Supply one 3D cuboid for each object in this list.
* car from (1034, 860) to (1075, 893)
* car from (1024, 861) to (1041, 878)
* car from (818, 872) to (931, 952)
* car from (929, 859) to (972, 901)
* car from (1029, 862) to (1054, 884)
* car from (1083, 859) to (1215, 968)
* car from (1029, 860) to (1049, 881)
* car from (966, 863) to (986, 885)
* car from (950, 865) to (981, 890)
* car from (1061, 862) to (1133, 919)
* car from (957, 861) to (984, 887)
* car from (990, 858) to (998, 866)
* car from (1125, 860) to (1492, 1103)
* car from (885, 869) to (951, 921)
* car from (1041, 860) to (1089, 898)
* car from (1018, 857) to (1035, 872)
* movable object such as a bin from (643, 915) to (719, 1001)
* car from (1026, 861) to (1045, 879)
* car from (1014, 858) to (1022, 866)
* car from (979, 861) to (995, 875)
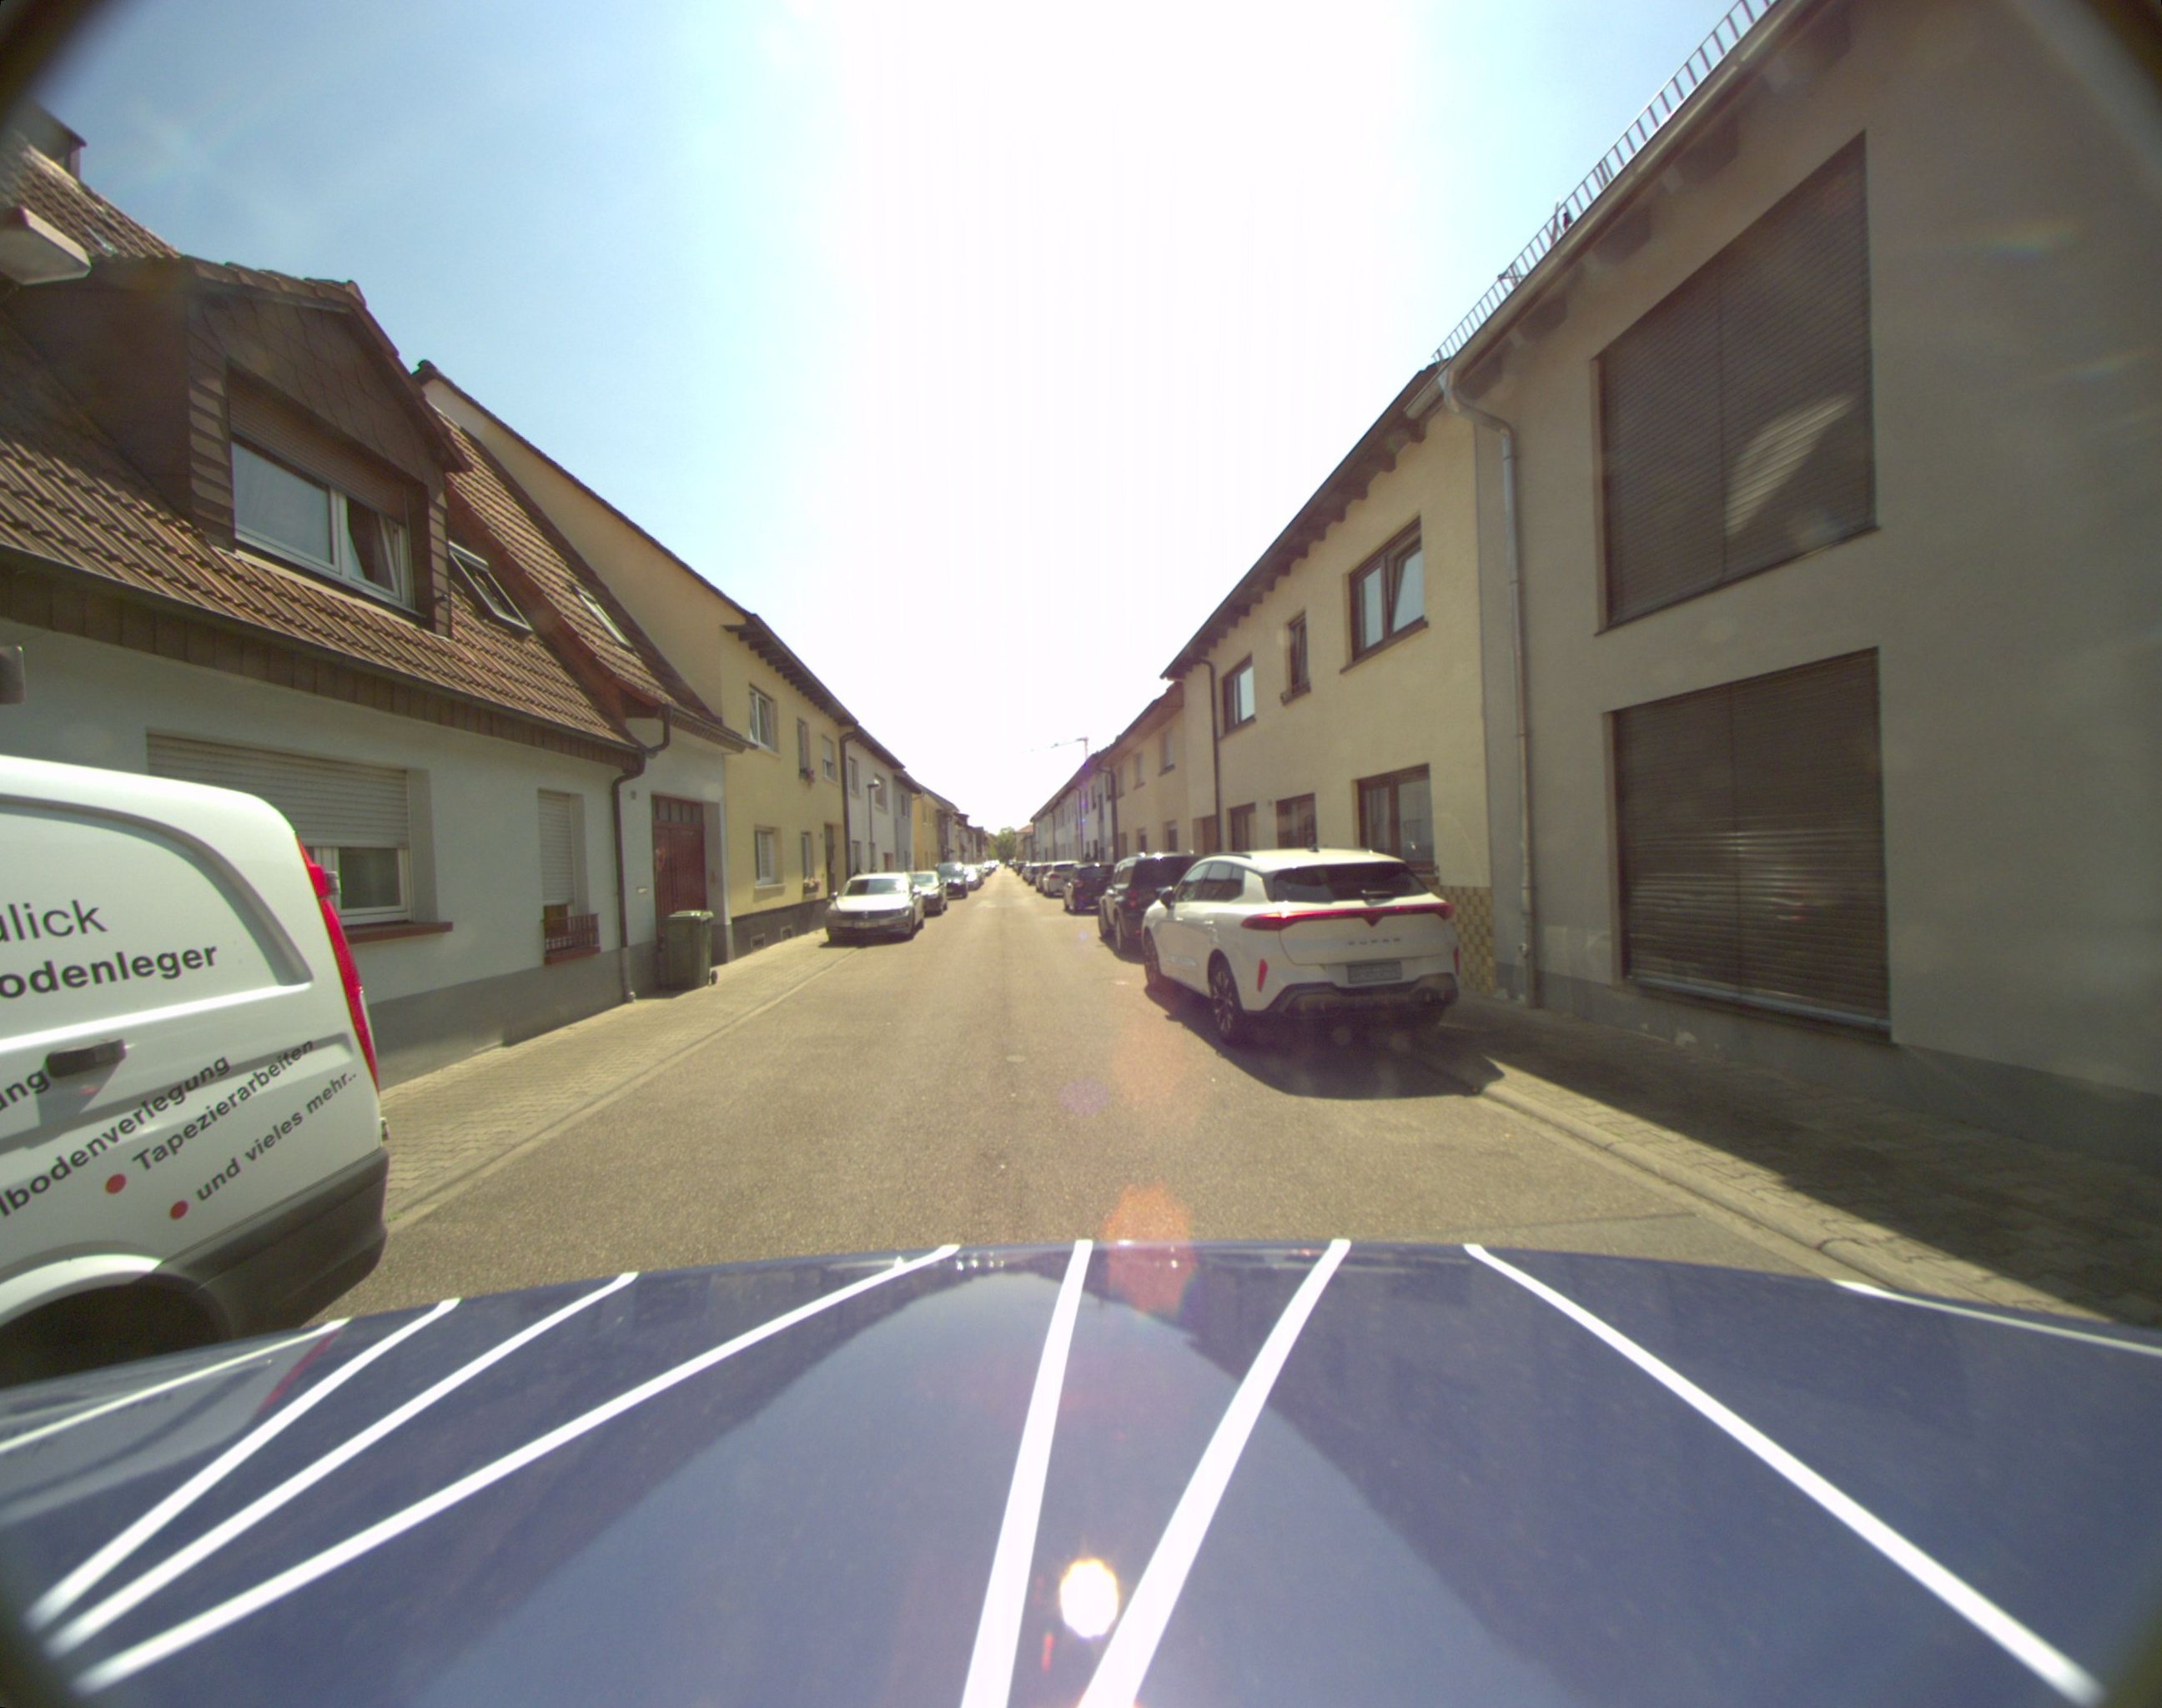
[{"bbox_3d":[-1.430,1.145,40.055,1.668,1.532,3.685,-3,0,-9],"label":"car"},{"bbox_3d":[-4.332,1.342,68.050,1.415,1.446,3.541,-2,0,-5],"label":"car"},{"bbox_3d":[-4.709,1.243,18.012,1.844,1.440,4.773,-4,0,-7],"label":"car"},{"bbox_3d":[-6.239,1.177,36.764,1.702,1.767,4.196,-3,1,-6],"label":"car"},{"bbox_3d":[-2.757,1.291,52.652,1.607,1.434,3.212,-2,0,-5],"label":"car"},{"bbox_3d":[1.059,0.927,13.713,1.727,1.606,3.987,-2,0,-4],"label":"car"},{"bbox_3d":[-3.204,1.227,57.470,1.415,1.519,3.024,-2,0,-5],"label":"car"},{"bbox_3d":[-7.997,1.478,58.024,1.404,1.518,3.396,-4,0,-7],"label":"car"},{"bbox_3d":[-7.080,1.417,46.998,1.667,1.406,4.246,-2,0,-6],"label":"car"},{"bbox_3d":[0.406,1.061,23.683,1.645,1.528,3.940,-2,0,-7],"label":"car"},{"bbox_3d":[-7.616,1.357,52.421,1.685,1.575,3.959,-3,0,-8],"label":"car"},{"bbox_3d":[-16.703,1.545,146.072,1.415,1.604,3.322,-2,0,-6],"label":"car"},{"bbox_3d":[1.755,0.891,7.486,1.780,1.606,4.346,-2,0,-8],"label":"car"},{"bbox_3d":[-5.336,1.301,25.362,1.702,1.427,4.100,-4,0,-7],"label":"car"},{"bbox_3d":[-0.782,1.100,34.634,1.668,1.540,3.939,-1,0,-9],"label":"car"},{"bbox_3d":[-6.434,1.230,89.779,1.819,1.598,3.885,-2,0,-6],"label":"car"},{"bbox_3d":[-5.594,1.434,10.673,0.660,1.065,0.812,-2,0,-7],"label":"movable object such as a bin"},{"bbox_3d":[-3.785,1.296,62.674,1.415,1.446,3.460,-2,0,-5],"label":"car"},{"bbox_3d":[-11.390,1.399,137.363,1.415,1.389,3.322,-2,0,-6],"label":"car"},{"bbox_3d":[-11.386,1.667,92.318,1.737,1.502,3.622,-4,0,-6],"label":"car"}]
